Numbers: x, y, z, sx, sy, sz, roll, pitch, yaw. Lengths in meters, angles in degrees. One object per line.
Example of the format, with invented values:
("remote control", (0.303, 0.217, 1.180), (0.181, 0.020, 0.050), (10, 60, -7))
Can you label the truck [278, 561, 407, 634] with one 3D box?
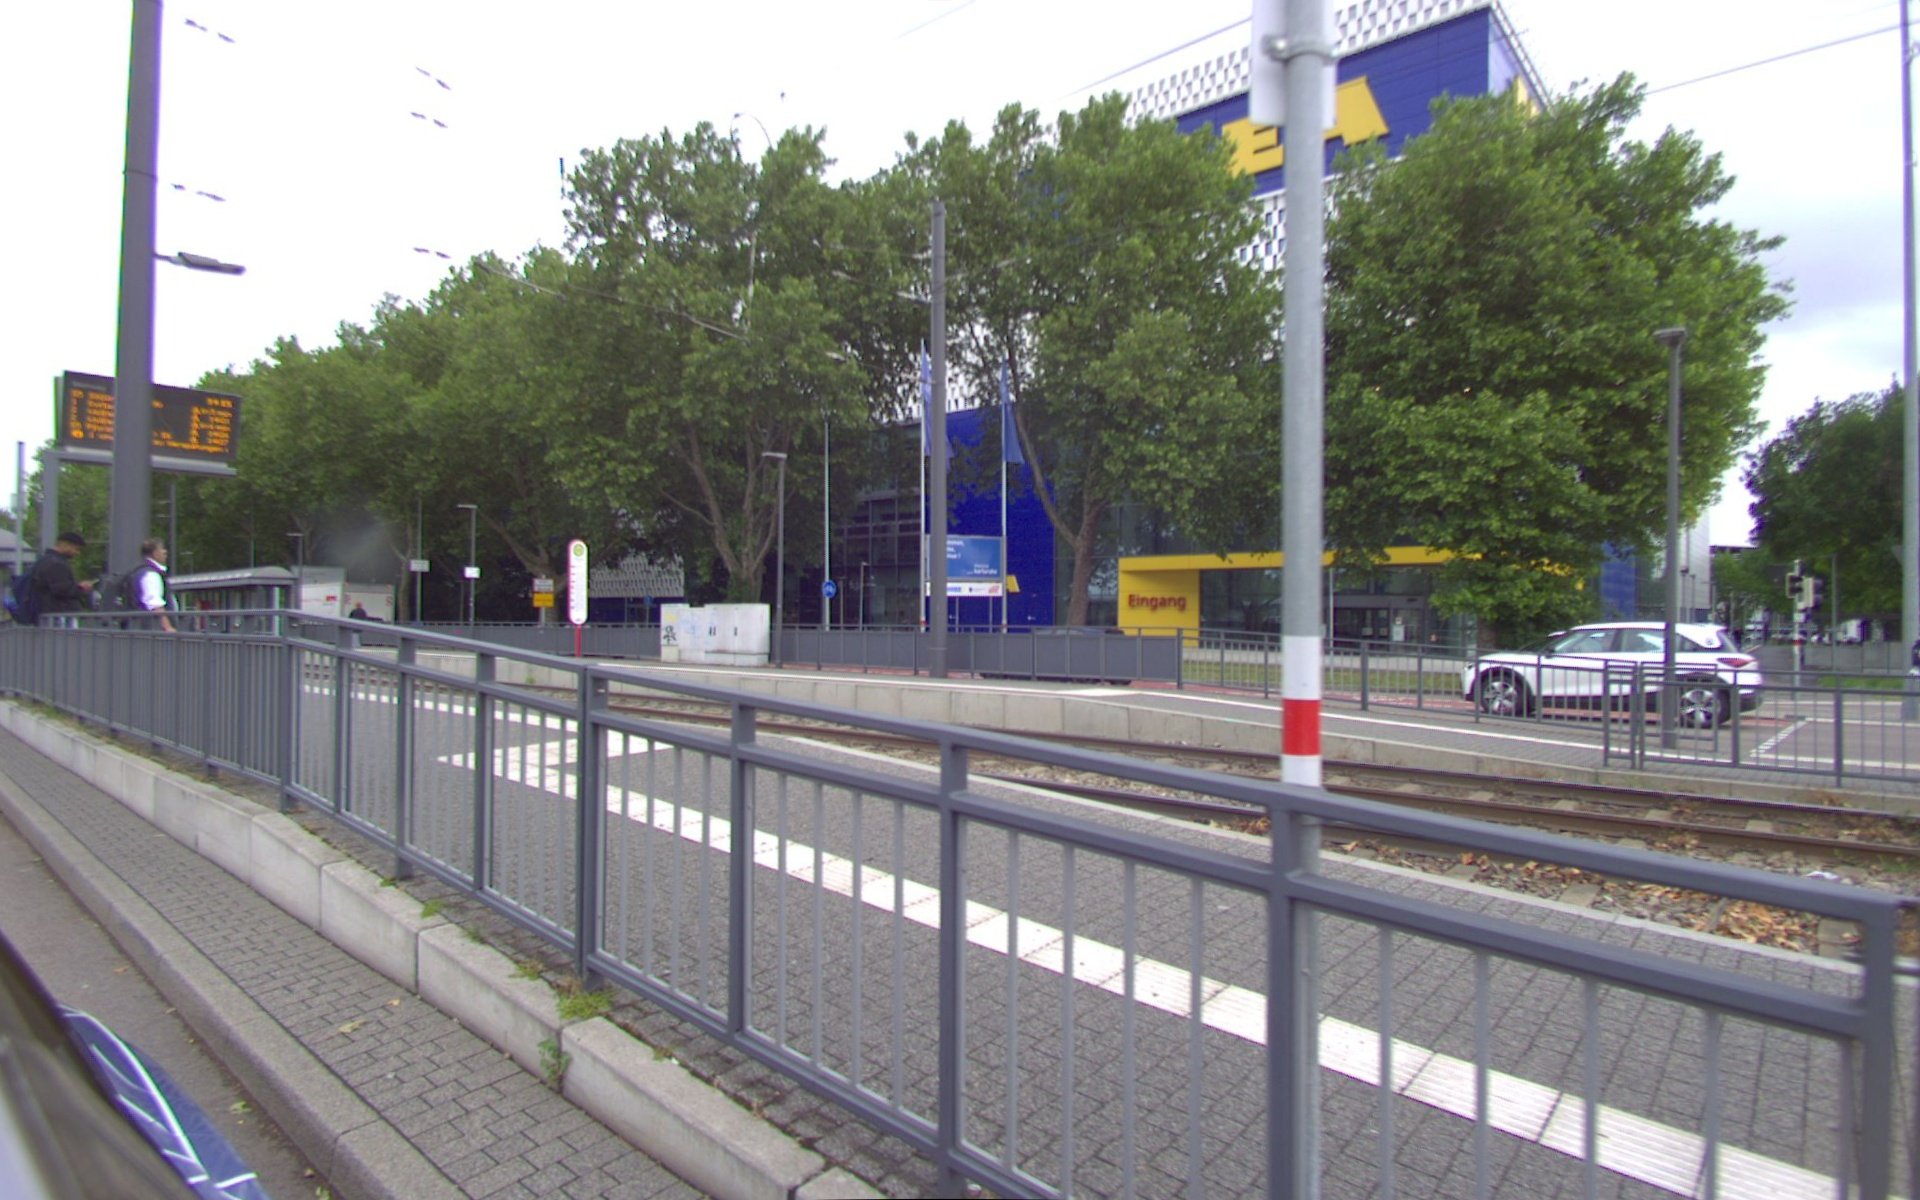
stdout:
("truck", (-34.963, -0.019, 57.085), (9.891, 3.691, 3.217), (-1, -4, 41))

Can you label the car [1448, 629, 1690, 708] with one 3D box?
("car", (13.726, 1.515, 22.990), (4.347, 1.597, 1.894), (2, -1, -2))

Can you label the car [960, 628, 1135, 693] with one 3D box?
("car", (2.045, 1.387, 24.440), (3.998, 1.429, 1.703), (-1, -2, 41))

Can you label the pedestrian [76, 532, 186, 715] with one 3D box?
("pedestrian", (-7.502, 0.199, 9.159), (0.633, 1.571, 0.701), (0, 0, 44))

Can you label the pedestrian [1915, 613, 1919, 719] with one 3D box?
("pedestrian", (16.784, 1.133, 17.140), (0.672, 1.811, 0.759), (1, -3, 25))

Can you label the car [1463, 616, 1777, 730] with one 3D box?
("car", (10.736, 1.125, 16.608), (4.140, 1.598, 1.773), (0, -3, 41))

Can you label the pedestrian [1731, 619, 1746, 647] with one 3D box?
("pedestrian", (49.607, 2.094, 64.449), (0.679, 1.759, 0.797), (1, -1, 42))

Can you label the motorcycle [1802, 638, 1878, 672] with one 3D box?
("motorcycle", (40.442, 2.498, 46.564), (2.491, 1.365, 0.792), (2, 0, 31))

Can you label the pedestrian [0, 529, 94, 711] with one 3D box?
("pedestrian", (-9.266, 0.191, 10.186), (0.587, 1.755, 0.776), (0, 0, 45))
